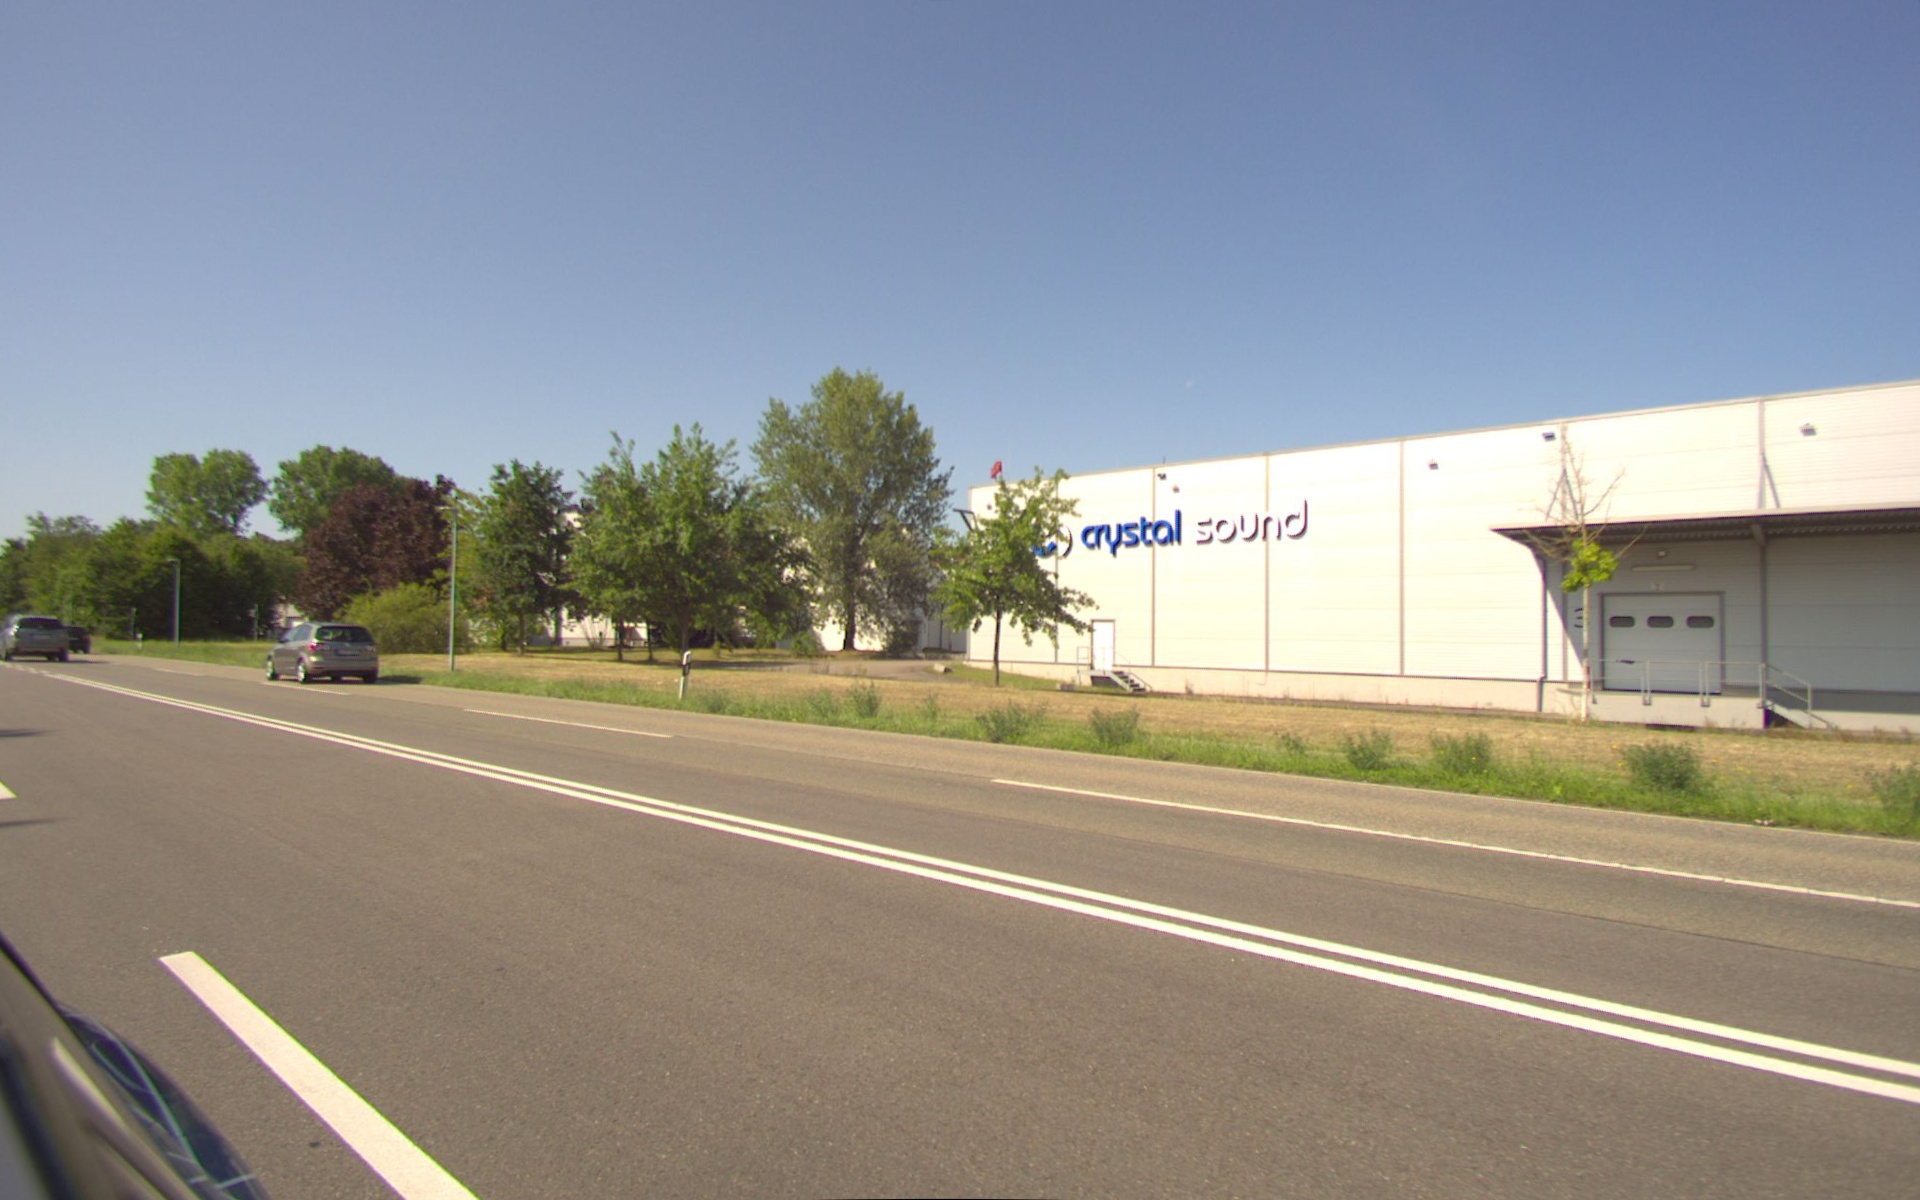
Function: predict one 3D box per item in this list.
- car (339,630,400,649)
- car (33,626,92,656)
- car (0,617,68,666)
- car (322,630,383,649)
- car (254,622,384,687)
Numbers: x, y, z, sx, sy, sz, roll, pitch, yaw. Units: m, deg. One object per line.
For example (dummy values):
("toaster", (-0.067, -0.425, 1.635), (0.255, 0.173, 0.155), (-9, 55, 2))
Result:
("car", (-44.476, 2.972, 76.279), (1.803, 1.381, 3.986), (-1, -3, 11))
("car", (-47.054, 2.128, 53.004), (4.737, 1.492, 1.635), (-1, -4, 41))
("car", (-35.293, 1.570, 38.272), (4.568, 1.727, 1.753), (-2, -5, 42))
("car", (-46.776, 3.082, 78.009), (1.803, 1.381, 3.986), (-1, -3, 11))
("car", (-17.037, 1.418, 26.833), (4.213, 1.573, 1.711), (-1, -4, 41))
